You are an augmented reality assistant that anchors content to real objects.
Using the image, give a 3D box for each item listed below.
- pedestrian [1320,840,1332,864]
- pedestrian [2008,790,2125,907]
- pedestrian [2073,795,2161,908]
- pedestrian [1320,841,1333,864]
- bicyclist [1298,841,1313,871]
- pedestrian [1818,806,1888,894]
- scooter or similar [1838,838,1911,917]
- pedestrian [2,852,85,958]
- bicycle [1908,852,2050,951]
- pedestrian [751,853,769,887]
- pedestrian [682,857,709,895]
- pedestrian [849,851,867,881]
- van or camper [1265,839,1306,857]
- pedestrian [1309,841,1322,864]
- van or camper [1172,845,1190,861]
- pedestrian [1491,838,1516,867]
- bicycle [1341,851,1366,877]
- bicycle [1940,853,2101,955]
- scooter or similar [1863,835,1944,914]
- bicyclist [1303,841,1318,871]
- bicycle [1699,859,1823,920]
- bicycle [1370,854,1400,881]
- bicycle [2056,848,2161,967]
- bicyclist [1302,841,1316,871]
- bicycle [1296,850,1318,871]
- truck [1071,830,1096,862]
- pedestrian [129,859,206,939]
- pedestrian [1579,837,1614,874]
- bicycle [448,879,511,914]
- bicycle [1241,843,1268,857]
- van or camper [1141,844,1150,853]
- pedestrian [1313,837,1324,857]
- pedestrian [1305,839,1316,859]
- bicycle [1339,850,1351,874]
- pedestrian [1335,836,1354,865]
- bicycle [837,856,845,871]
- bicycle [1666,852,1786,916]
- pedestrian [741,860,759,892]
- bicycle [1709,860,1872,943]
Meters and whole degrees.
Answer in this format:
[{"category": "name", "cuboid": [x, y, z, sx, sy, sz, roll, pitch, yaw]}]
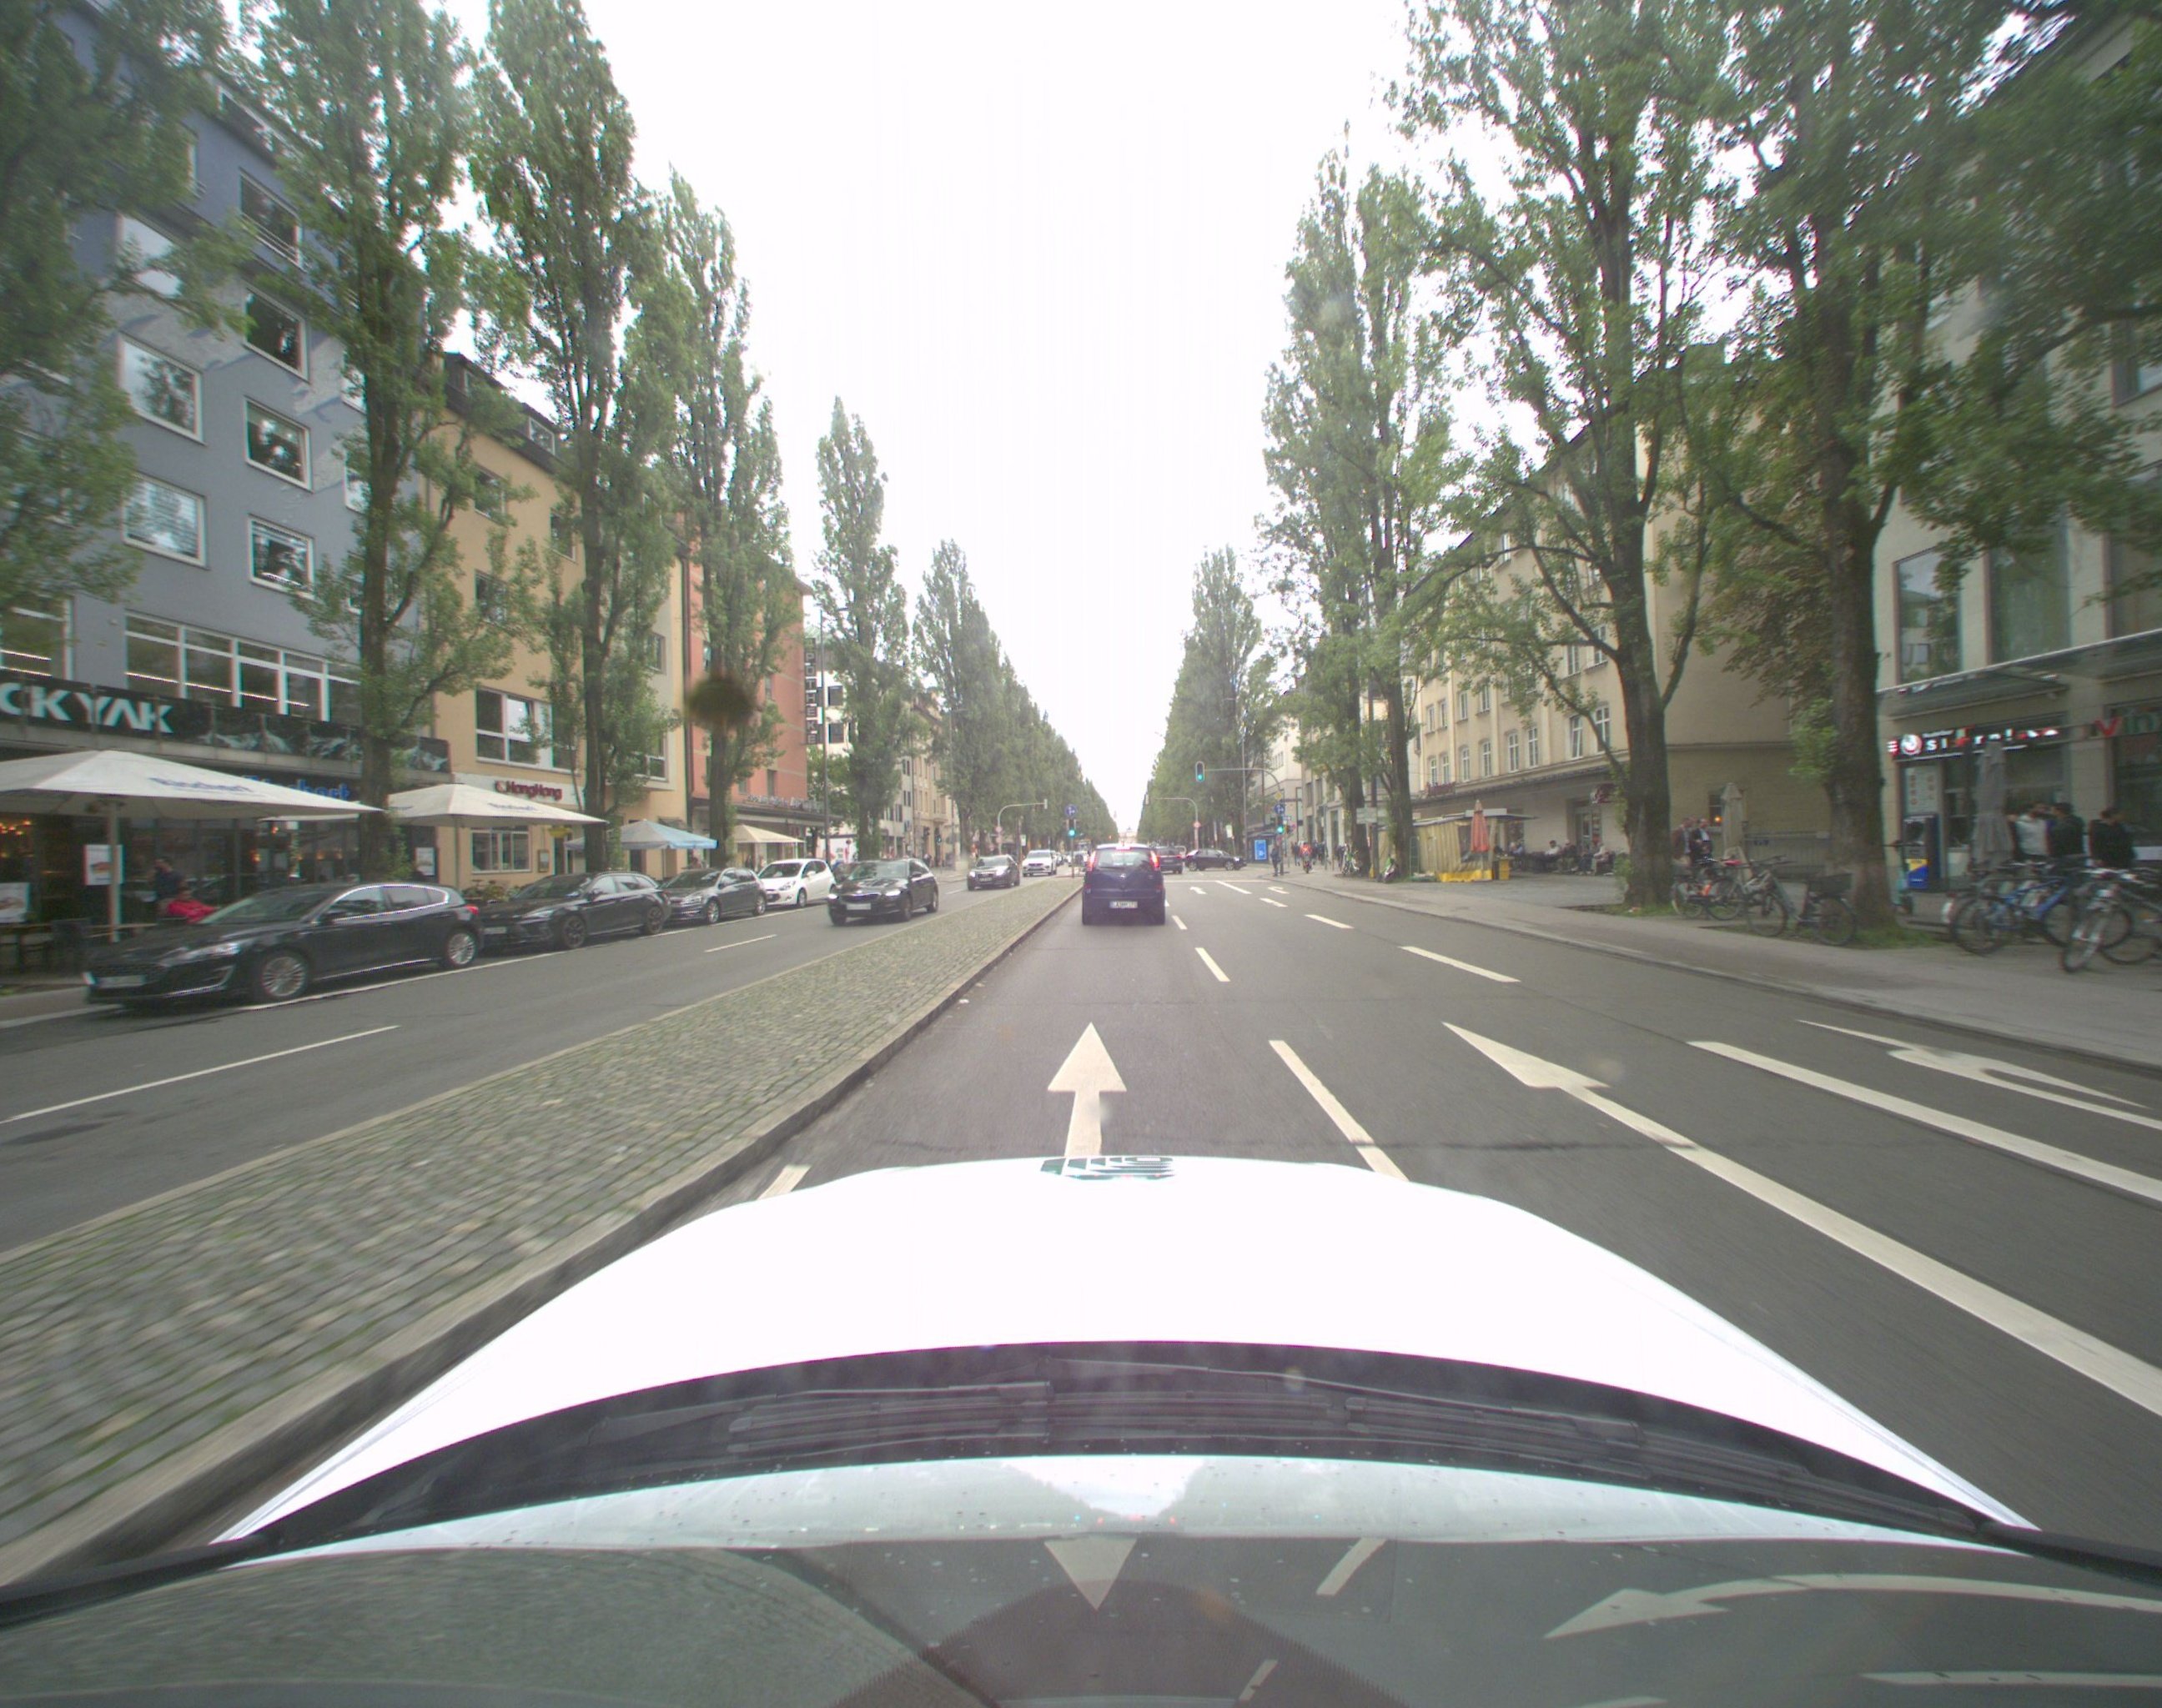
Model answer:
[{"category": "pedestrian", "cuboid": [18.432, -0.139, 61.348, 0.705, 1.758, 0.753, -2, 0, 4]}, {"category": "pedestrian", "cuboid": [16.025, -0.095, 13.263, 0.813, 1.814, 0.975, -2, 0, -18]}, {"category": "pedestrian", "cuboid": [16.938, -0.041, 13.322, 0.562, 1.784, 0.675, -2, 0, 4]}, {"category": "pedestrian", "cuboid": [18.928, -0.121, 62.847, 0.746, 1.758, 0.860, -2, -2, 5]}, {"category": "bicyclist", "cuboid": [12.382, 0.113, 44.943, 0.619, 1.588, 0.753, -2, 0, 3]}, {"category": "pedestrian", "cuboid": [16.350, -0.085, 17.271, 0.739, 1.814, 0.758, -2, 0, 7]}, {"category": "scooter or similar", "cuboid": [13.337, 0.371, 13.714, 0.246, 1.273, 1.037, -2, 0, 4]}, {"category": "pedestrian", "cuboid": [-22.377, 1.086, 17.572, 0.777, 2.211, 0.732, -2, 0, 2]}, {"category": "bicycle", "cuboid": [10.951, 0.566, 9.930, 1.672, 1.117, 0.285, -2, 0, -9]}, {"category": "pedestrian", "cuboid": [-16.516, 0.834, 41.935, 0.552, 1.717, 0.692, -2, 0, 3]}, {"category": "pedestrian", "cuboid": [-17.458, 0.982, 36.910, 0.777, 1.668, 0.803, -2, 0, 2]}, {"category": "pedestrian", "cuboid": [-13.256, 0.702, 48.398, 0.721, 1.771, 0.779, -2, 0, 4]}, {"category": "van or camper", "cuboid": [21.660, -0.602, 86.316, 4.082, 1.867, 1.902, 0, 0, 7]}, {"category": "pedestrian", "cuboid": [18.140, -0.118, 62.946, 0.746, 1.758, 0.860, -2, -2, 5]}, {"category": "van or camper", "cuboid": [12.197, -0.169, 99.662, 1.861, 1.883, 4.907, -1, 0, 3]}, {"category": "pedestrian", "cuboid": [19.056, -0.077, 36.772, 0.772, 1.264, 0.700, -2, 0, 4]}, {"category": "bicycle", "cuboid": [11.748, 0.412, 35.155, 0.506, 1.048, 1.771, -2, 0, 2]}, {"category": "bicycle", "cuboid": [11.038, 0.565, 9.574, 1.659, 1.107, 0.395, -2, 0, -9]}, {"category": "scooter or similar", "cuboid": [13.800, 0.332, 13.687, 0.328, 1.273, 1.037, -2, 0, 4]}, {"category": "bicyclist", "cuboid": [12.325, 0.113, 43.756, 0.619, 1.588, 0.392, -2, 0, 2]}, {"category": "bicycle", "cuboid": [11.556, 0.598, 13.847, 1.995, 0.945, 0.285, -2, 0, -6]}, {"category": "bicycle", "cuboid": [11.542, 0.484, 30.986, 0.506, 0.975, 1.771, -2, 0, 2]}, {"category": "bicycle", "cuboid": [10.985, 0.518, 8.294, 1.862, 1.135, 0.339, -2, 0, -6]}, {"category": "bicyclist", "cuboid": [12.347, 0.113, 44.150, 0.619, 1.588, 0.482, -2, 0, 2]}, {"category": "bicycle", "cuboid": [12.380, 0.360, 44.692, 0.624, 1.086, 2.265, -2, 0, 3]}, {"category": "truck", "cuboid": [0.390, -1.009, 100.619, 2.452, 3.670, 8.448, -2, 0, 3]}, {"category": "pedestrian", "cuboid": [-19.510, 0.952, 17.407, 0.737, 1.640, 0.757, -2, 0, 5]}, {"category": "pedestrian", "cuboid": [18.003, 0.046, 28.461, 0.772, 1.264, 0.700, -2, 0, 4]}, {"category": "bicycle", "cuboid": [-19.443, 1.363, 26.383, 0.440, 1.002, 1.959, -2, 0, 5]}, {"category": "bicycle", "cuboid": [15.808, -0.344, 74.257, 2.333, 1.252, 0.633, -2, 0, 3]}, {"category": "van or camper", "cuboid": [18.794, -1.537, 236.166, 2.466, 2.581, 5.850, -2, 0, 4]}, {"category": "pedestrian", "cuboid": [21.374, -0.643, 73.226, 0.746, 1.758, 0.712, -1, 0, 4]}, {"category": "pedestrian", "cuboid": [20.556, -0.470, 73.015, 0.746, 1.758, 1.018, -2, 0, 5]}, {"category": "bicycle", "cuboid": [12.146, 0.359, 37.468, 0.401, 1.070, 1.820, 4, 1, 19]}, {"category": "pedestrian", "cuboid": [16.116, -0.201, 49.808, 0.670, 1.702, 0.850, 0, -2, -42]}, {"category": "bicycle", "cuboid": [-20.541, 0.803, 69.751, 0.449, 1.184, 2.054, -2, 0, -12]}, {"category": "bicycle", "cuboid": [11.248, 0.521, 14.215, 1.995, 1.083, 0.285, 0, 0, -6]}, {"category": "pedestrian", "cuboid": [-17.054, 1.117, 41.949, 0.552, 1.638, 0.692, -2, 0, 3]}, {"category": "bicycle", "cuboid": [10.237, 0.637, 11.859, 0.433, 1.061, 2.000, -2, 0, -6]}]
